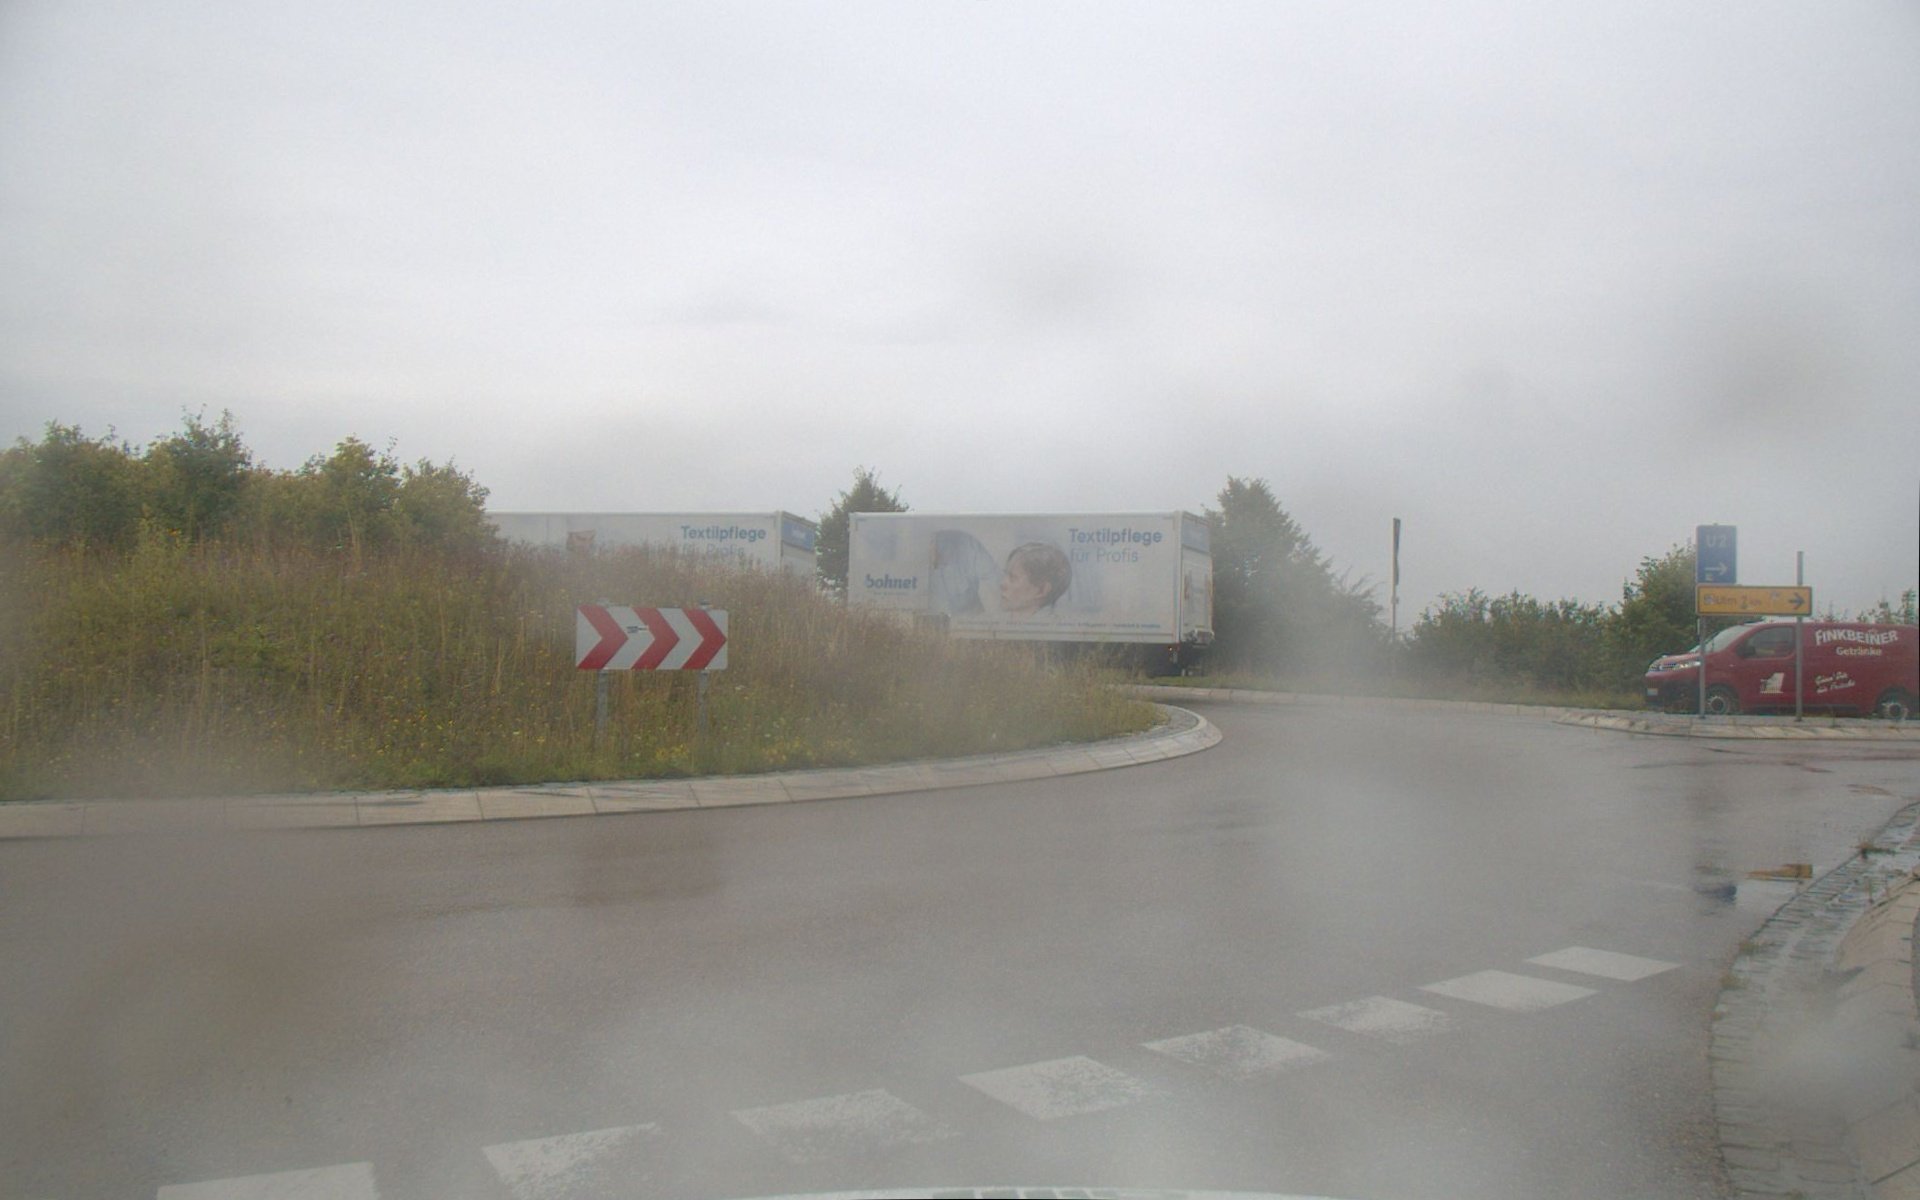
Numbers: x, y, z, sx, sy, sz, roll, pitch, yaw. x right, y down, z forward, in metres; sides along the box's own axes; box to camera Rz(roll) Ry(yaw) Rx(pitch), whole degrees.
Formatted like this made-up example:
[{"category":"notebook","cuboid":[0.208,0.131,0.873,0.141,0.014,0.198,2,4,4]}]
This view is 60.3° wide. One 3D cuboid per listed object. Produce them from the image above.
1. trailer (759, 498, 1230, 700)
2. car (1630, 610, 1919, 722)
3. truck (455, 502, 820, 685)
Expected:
[{"category":"trailer","cuboid":[0.678,-0.017,34.820,9.483,3.886,2.841,0,-2,21]},{"category":"car","cuboid":[15.436,1.230,31.104,4.860,1.903,2.000,2,-1,1]},{"category":"truck","cuboid":[-7.205,-0.151,37.294,7.500,3.886,2.811,1,-2,13]}]
